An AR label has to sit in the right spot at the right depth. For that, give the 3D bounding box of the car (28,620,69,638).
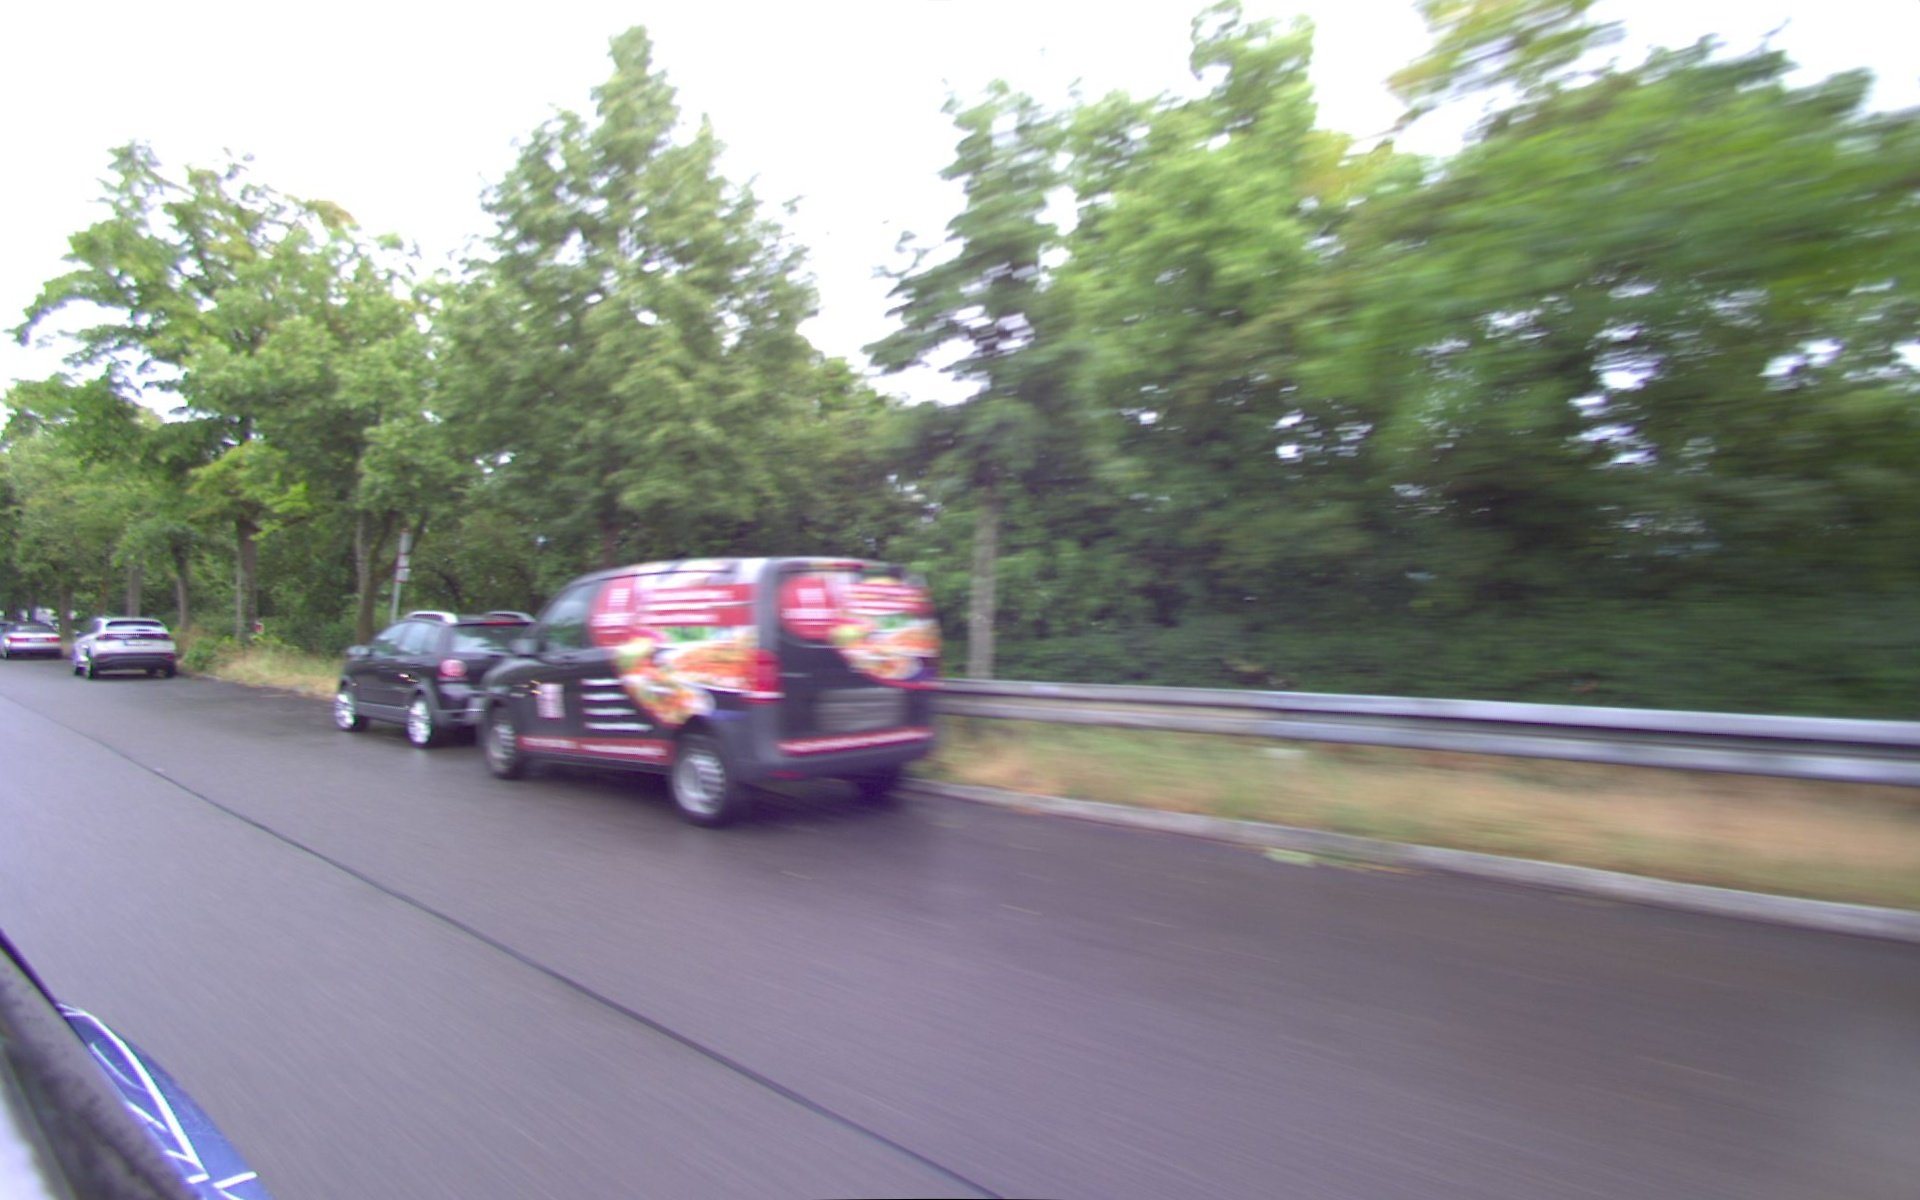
[{"bbox_3d":[-85.578,2.736,95.057,1.660,1.521,4.220,4,-2,-26],"label":"car"}]

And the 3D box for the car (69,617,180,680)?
[{"bbox_3d":[-21.170,1.170,25.583,4.257,1.448,1.670,-1,-1,44],"label":"car"}]

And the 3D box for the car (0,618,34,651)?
[{"bbox_3d":[-43.317,1.536,45.664,4.715,1.416,1.971,-1,-2,44],"label":"car"}]

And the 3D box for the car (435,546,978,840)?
[{"bbox_3d":[-2.519,0.612,8.922,5.380,1.833,2.061,-1,-1,43],"label":"car"}]

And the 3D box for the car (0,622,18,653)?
[{"bbox_3d":[-47.086,1.789,48.963,4.715,1.416,1.971,-1,-2,44],"label":"car"}]

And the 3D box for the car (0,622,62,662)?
[{"bbox_3d":[-35.765,1.574,38.615,4.418,1.413,1.736,0,-1,42],"label":"car"}]

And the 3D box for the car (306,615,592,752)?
[{"bbox_3d":[-6.603,0.924,12.875,4.254,1.448,1.779,0,-1,41],"label":"car"}]

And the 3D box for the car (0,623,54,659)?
[{"bbox_3d":[-39.122,1.666,42.072,3.997,1.372,1.579,0,-1,40],"label":"car"}]

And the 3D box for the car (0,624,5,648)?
[{"bbox_3d":[-54.915,2.028,56.506,5.355,1.319,1.971,-2,-4,43],"label":"car"}]

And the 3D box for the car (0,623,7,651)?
[{"bbox_3d":[-50.519,1.921,52.127,1.970,1.416,4.717,2,-3,-44],"label":"car"}]
